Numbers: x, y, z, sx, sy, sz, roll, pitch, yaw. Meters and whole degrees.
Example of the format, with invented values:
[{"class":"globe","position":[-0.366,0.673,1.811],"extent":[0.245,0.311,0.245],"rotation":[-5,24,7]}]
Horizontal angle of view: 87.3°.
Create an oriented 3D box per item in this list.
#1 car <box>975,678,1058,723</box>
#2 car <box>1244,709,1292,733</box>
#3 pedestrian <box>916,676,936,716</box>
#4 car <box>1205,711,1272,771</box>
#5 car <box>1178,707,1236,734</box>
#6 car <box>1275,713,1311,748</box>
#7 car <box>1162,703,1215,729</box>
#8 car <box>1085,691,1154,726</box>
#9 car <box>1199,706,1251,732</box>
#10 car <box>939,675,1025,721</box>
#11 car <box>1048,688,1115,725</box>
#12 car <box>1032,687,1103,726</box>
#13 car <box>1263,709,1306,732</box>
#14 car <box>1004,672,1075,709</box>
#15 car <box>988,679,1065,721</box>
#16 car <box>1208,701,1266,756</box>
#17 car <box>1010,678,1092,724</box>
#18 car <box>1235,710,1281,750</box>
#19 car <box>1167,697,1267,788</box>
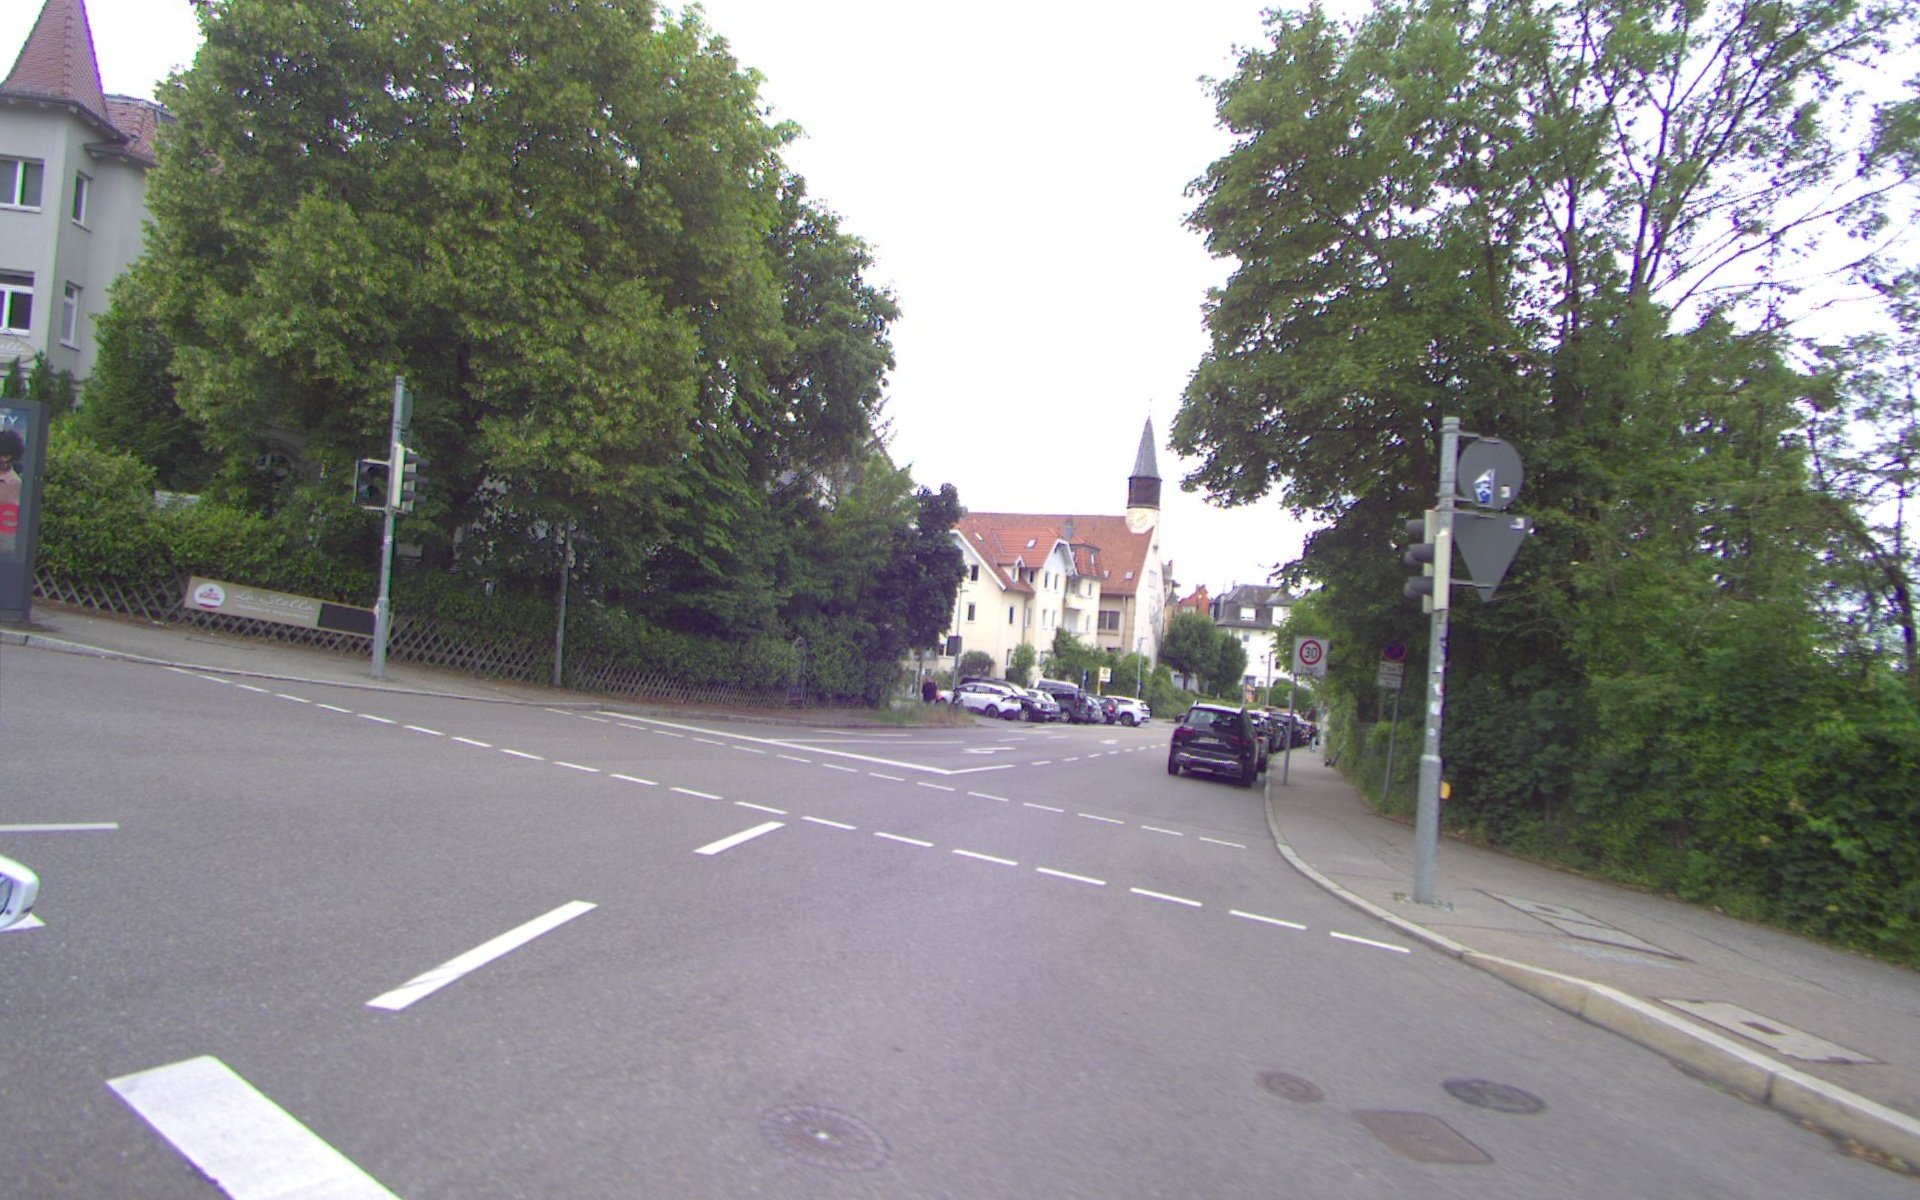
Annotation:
[{"class":"car","position":[2.641,4.699,47.196],"extent":[3.412,1.533,1.435],"rotation":[6,-4,31]},{"class":"car","position":[27.293,10.713,89.169],"extent":[3.657,1.521,1.566],"rotation":[6,-4,37]},{"class":"pedestrian","position":[-1.336,3.824,40.034],"extent":[0.504,1.533,0.523],"rotation":[8,-3,9]},{"class":"car","position":[8.414,4.198,30.224],"extent":[1.599,1.470,3.786],"rotation":[5,-4,19]},{"class":"car","position":[18.901,9.193,76.892],"extent":[3.913,1.470,1.569],"rotation":[7,-4,28]},{"class":"car","position":[19.545,7.638,58.954],"extent":[1.537,1.738,4.261],"rotation":[7,-4,23]},{"class":"car","position":[18.018,9.160,79.451],"extent":[3.648,1.470,1.569],"rotation":[7,-4,28]},{"class":"car","position":[9.598,6.536,60.519],"extent":[3.653,1.525,1.568],"rotation":[6,-4,33]},{"class":"car","position":[21.408,9.598,81.292],"extent":[3.648,1.470,1.875],"rotation":[7,-4,28]},{"class":"car","position":[0.966,4.387,45.035],"extent":[3.412,1.533,1.435],"rotation":[6,-4,31]},{"class":"car","position":[6.998,6.132,58.001],"extent":[3.414,1.533,1.434],"rotation":[6,-4,34]},{"class":"car","position":[5.818,5.767,54.445],"extent":[3.414,1.533,1.434],"rotation":[6,-4,34]},{"class":"car","position":[32.517,12.055,100.759],"extent":[3.657,1.613,1.566],"rotation":[6,-4,37]},{"class":"car","position":[5.700,6.472,71.884],"extent":[4.473,1.897,1.936],"rotation":[7,-3,22]},{"class":"car","position":[3.281,4.947,49.823],"extent":[3.412,1.533,1.435],"rotation":[6,-4,31]},{"class":"car","position":[10.180,4.664,36.765],"extent":[1.601,1.645,4.512],"rotation":[7,-4,20]},{"class":"car","position":[4.700,5.213,51.998],"extent":[3.651,1.788,1.678],"rotation":[6,-4,31]},{"class":"car","position":[13.757,5.968,46.328],"extent":[1.537,1.528,4.047],"rotation":[7,-4,22]},{"class":"car","position":[5.993,3.237,23.129],"extent":[1.715,1.636,4.276],"rotation":[7,-4,20]}]
